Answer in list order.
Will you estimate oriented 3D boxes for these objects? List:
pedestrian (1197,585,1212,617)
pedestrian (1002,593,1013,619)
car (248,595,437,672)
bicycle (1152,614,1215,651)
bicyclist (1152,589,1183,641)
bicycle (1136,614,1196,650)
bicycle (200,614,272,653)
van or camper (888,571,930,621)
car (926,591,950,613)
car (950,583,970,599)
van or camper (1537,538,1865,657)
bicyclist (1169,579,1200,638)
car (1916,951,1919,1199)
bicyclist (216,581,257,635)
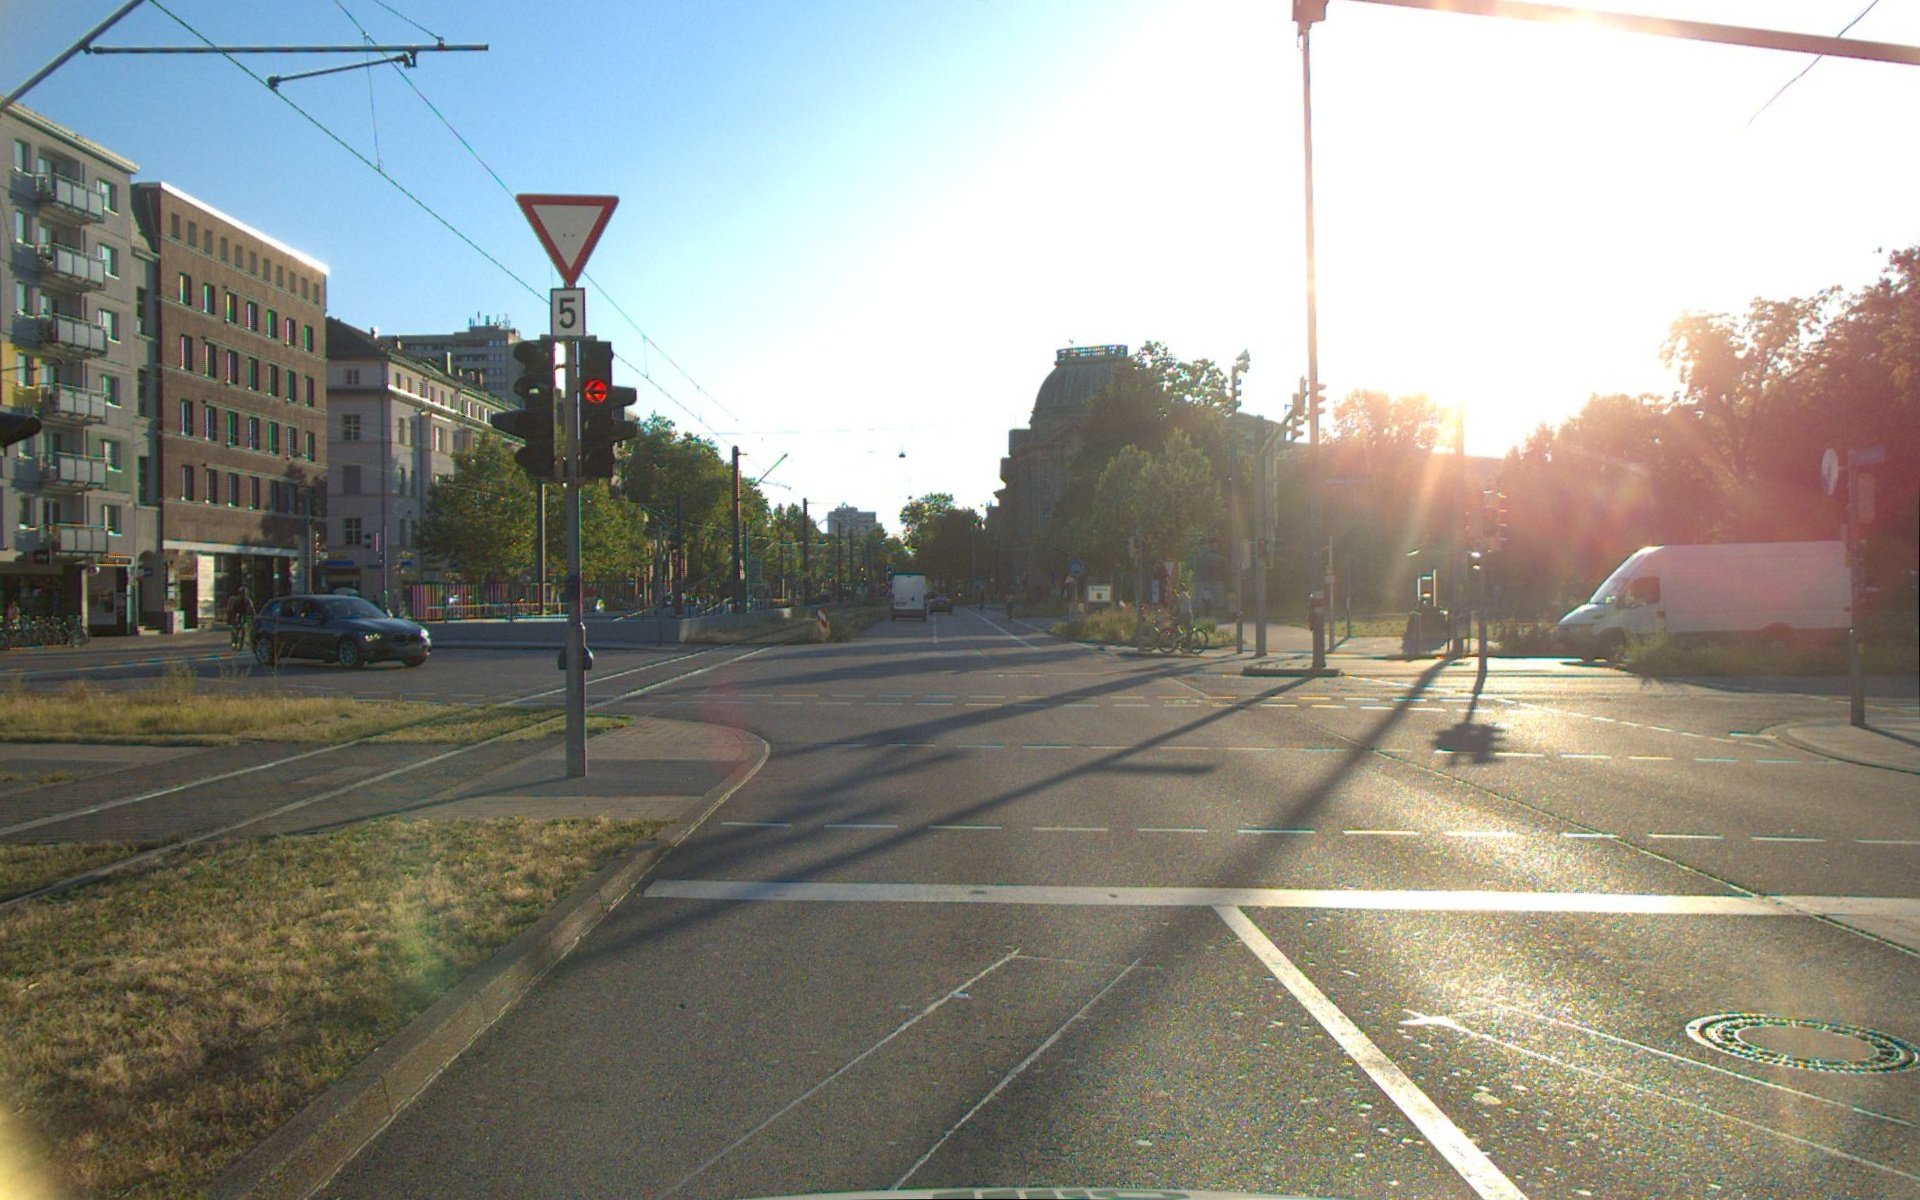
[{"bbox_3d":[12.568,0.046,85.039,0.668,1.639,0.612,-1,1,-1],"label":"pedestrian"},{"bbox_3d":[2.784,0.336,96.419,0.603,1.501,0.800,-1,1,3],"label":"pedestrian"},{"bbox_3d":[-12.617,0.651,33.739,3.919,1.459,1.712,0,1,35],"label":"car"},{"bbox_3d":[6.181,0.896,45.837,1.692,0.987,0.610,0,1,4],"label":"bicycle"},{"bbox_3d":[5.984,0.428,47.758,0.835,1.467,0.663,-1,1,4],"label":"bicyclist"},{"bbox_3d":[5.953,0.918,47.770,1.682,0.987,0.610,0,1,4],"label":"bicycle"},{"bbox_3d":[-20.272,0.924,46.321,1.693,0.987,0.704,2,1,0],"label":"bicycle"},{"bbox_3d":[-2.863,-0.267,93.364,2.216,2.670,4.503,-1,1,0],"label":"van or camper"},{"bbox_3d":[-1.599,0.128,119.741,1.702,1.410,4.000,-1,2,0],"label":"car"},{"bbox_3d":[0.021,-0.929,175.377,1.759,1.593,3.997,-1,2,-5],"label":"car"},{"bbox_3d":[18.081,-0.097,40.632,6.897,2.721,2.599,-1,1,1],"label":"van or camper"},{"bbox_3d":[6.221,0.220,45.827,0.781,1.598,0.663,-1,1,4],"label":"bicyclist"},{"bbox_3d":[2.821,0.797,0.948,1.793,1.377,4.640,0,1,-1],"label":"car"},{"bbox_3d":[-20.261,0.211,46.315,0.836,1.467,0.663,1,1,0],"label":"bicyclist"}]
